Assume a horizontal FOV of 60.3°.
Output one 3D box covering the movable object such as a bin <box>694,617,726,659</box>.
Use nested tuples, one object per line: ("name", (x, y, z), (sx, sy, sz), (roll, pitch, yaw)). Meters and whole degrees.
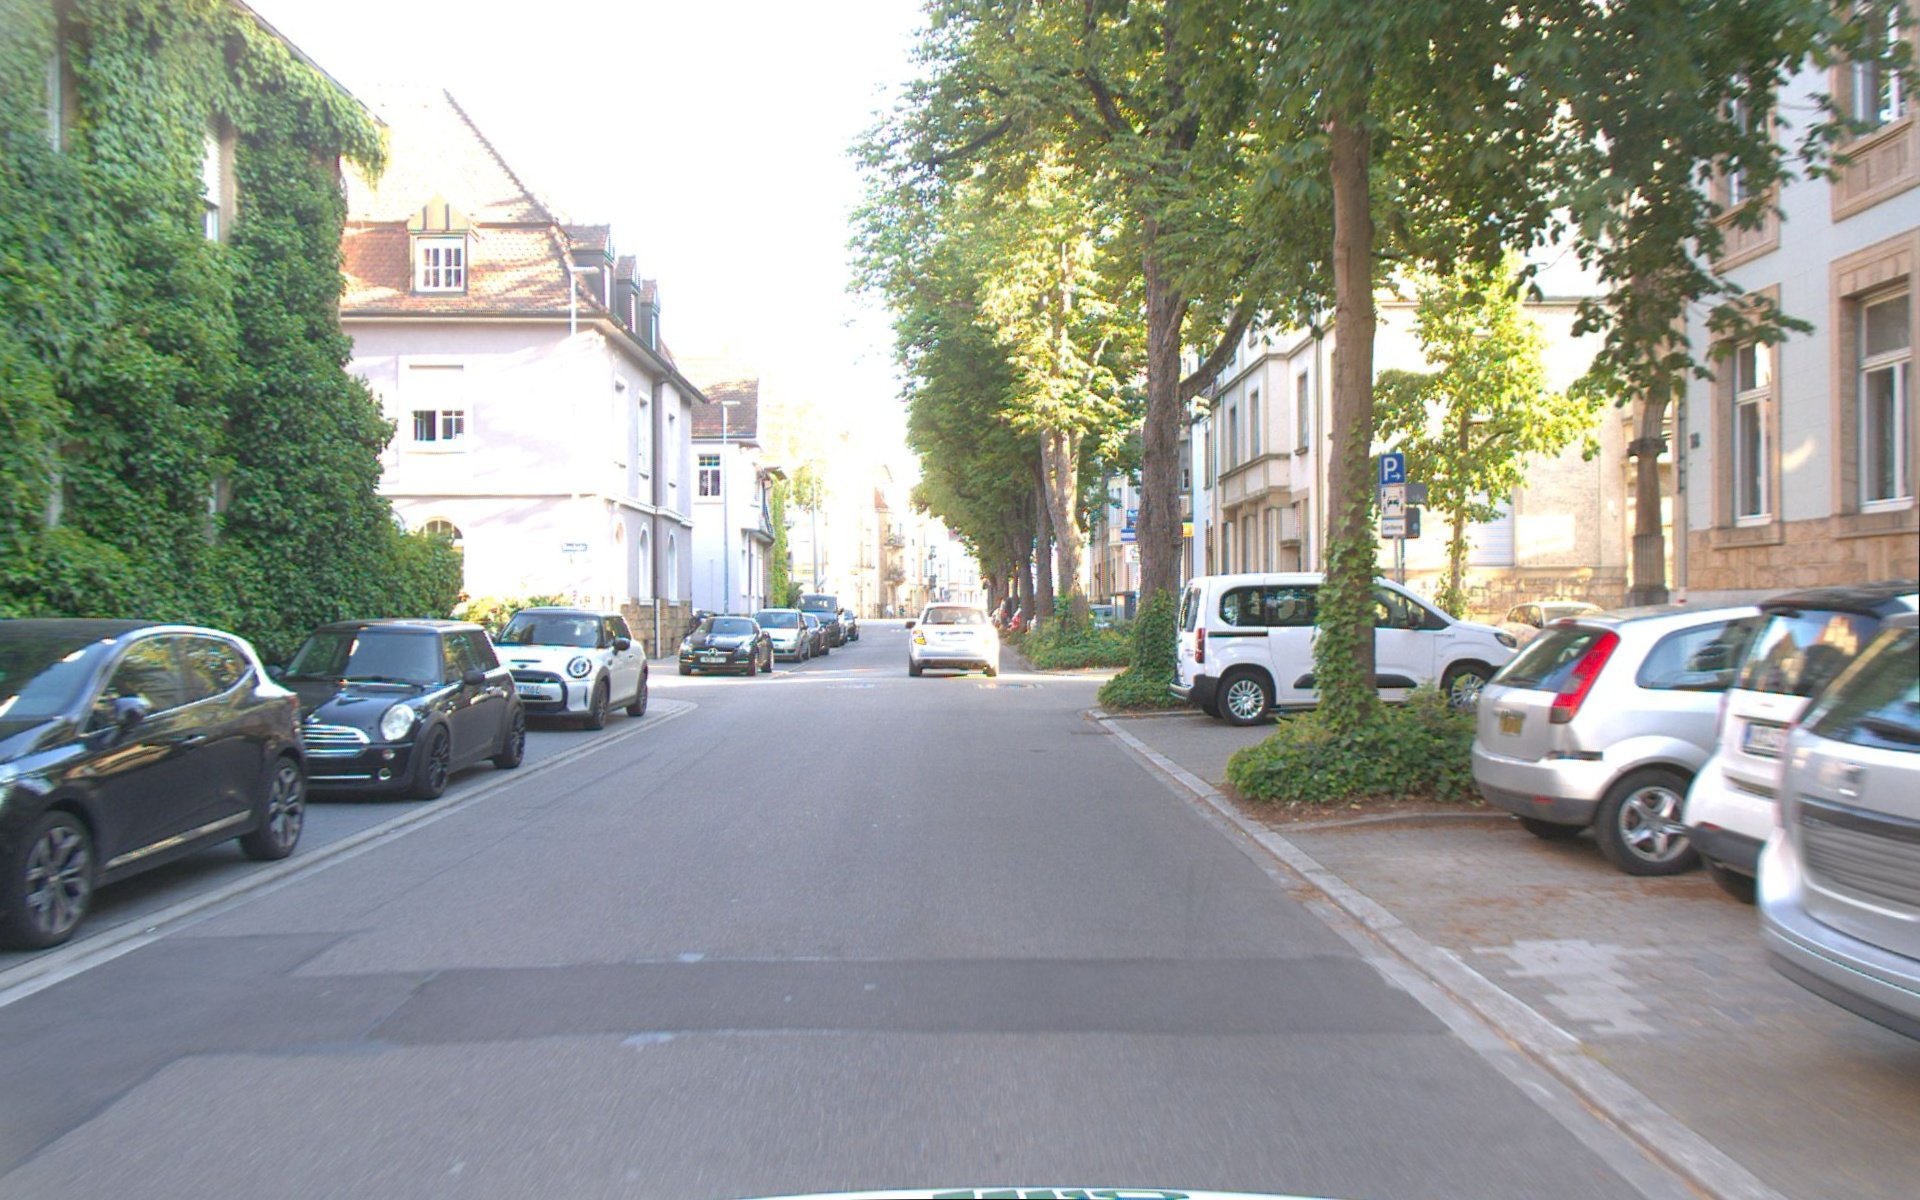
("movable object such as a bin", (-7.948, 1.191, 52.682), (0.707, 1.306, 2.096), (0, 0, 0))

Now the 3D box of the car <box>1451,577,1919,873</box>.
("car", (4.987, 0.639, 9.682), (3.672, 1.488, 1.734), (-2, 0, -1))

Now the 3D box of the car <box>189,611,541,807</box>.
("car", (-4.882, 0.821, 14.119), (1.652, 1.404, 3.720), (1, 0, 0))

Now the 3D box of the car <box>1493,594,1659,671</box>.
("car", (12.621, 0.623, 34.200), (1.747, 1.433, 4.468), (-1, 0, 0))

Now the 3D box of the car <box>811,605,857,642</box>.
("car", (-5.366, 0.978, 70.647), (1.620, 1.472, 4.237), (1, 0, 0))

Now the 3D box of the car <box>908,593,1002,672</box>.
("car", (-0.096, 0.631, 32.806), (1.747, 1.462, 3.850), (1, -1, 0))

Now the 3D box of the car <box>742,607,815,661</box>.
("car", (-5.150, 0.939, 47.366), (1.619, 1.471, 3.960), (1, 0, 0))

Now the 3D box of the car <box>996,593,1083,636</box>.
("car", (3.911, 0.714, 81.928), (4.135, 1.929, 1.904), (-2, 0, -3))

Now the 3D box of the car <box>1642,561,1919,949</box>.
("car", (5.667, 0.559, 7.666), (4.227, 1.561, 1.828), (-2, 0, -1))

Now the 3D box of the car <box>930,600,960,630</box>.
("car", (-0.811, 0.831, 91.367), (1.590, 1.597, 3.680), (0, 0, 0))

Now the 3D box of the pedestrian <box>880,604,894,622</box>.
("pedestrian", (-7.298, 1.287, 164.982), (1.195, 1.752, 1.504), (1, 0, 2))

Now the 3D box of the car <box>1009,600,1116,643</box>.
("car", (4.010, 0.850, 65.333), (4.103, 1.501, 1.852), (-2, -1, 2))

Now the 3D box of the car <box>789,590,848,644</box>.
("car", (-5.438, 0.639, 64.043), (1.942, 1.982, 4.850), (1, 0, -1))

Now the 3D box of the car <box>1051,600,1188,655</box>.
("car", (4.635, 0.796, 48.387), (3.719, 1.463, 1.747), (-2, 0, -5))

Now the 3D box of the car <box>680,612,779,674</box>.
("car", (-5.339, 0.971, 38.758), (1.619, 1.347, 4.046), (1, -1, 2))

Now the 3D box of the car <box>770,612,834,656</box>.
("car", (-5.026, 1.074, 52.933), (1.499, 1.342, 4.227), (0, -1, 2))

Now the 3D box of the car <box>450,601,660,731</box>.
("car", (-5.077, 0.774, 21.245), (1.669, 1.486, 3.917), (1, 0, 1))

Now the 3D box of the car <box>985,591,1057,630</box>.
("car", (3.758, 0.630, 102.029), (4.301, 2.406, 1.999), (0, 0, -3))

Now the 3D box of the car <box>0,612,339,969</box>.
("car", (-4.812, 0.809, 8.604), (1.616, 1.445, 4.098), (1, 0, 0))

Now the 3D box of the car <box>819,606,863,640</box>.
("car", (-5.375, 1.034, 75.128), (1.660, 1.472, 4.357), (1, 0, 0))

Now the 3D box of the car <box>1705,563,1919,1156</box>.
("car", (4.542, 0.611, 4.693), (4.058, 1.561, 1.687), (-2, 0, 1))

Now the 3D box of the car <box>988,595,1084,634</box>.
("car", (4.073, 0.771, 89.190), (4.952, 2.024, 2.071), (0, 0, -3))

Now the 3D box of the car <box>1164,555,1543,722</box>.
("car", (4.844, 0.458, 20.812), (4.227, 1.838, 2.000), (-2, 0, -1))
